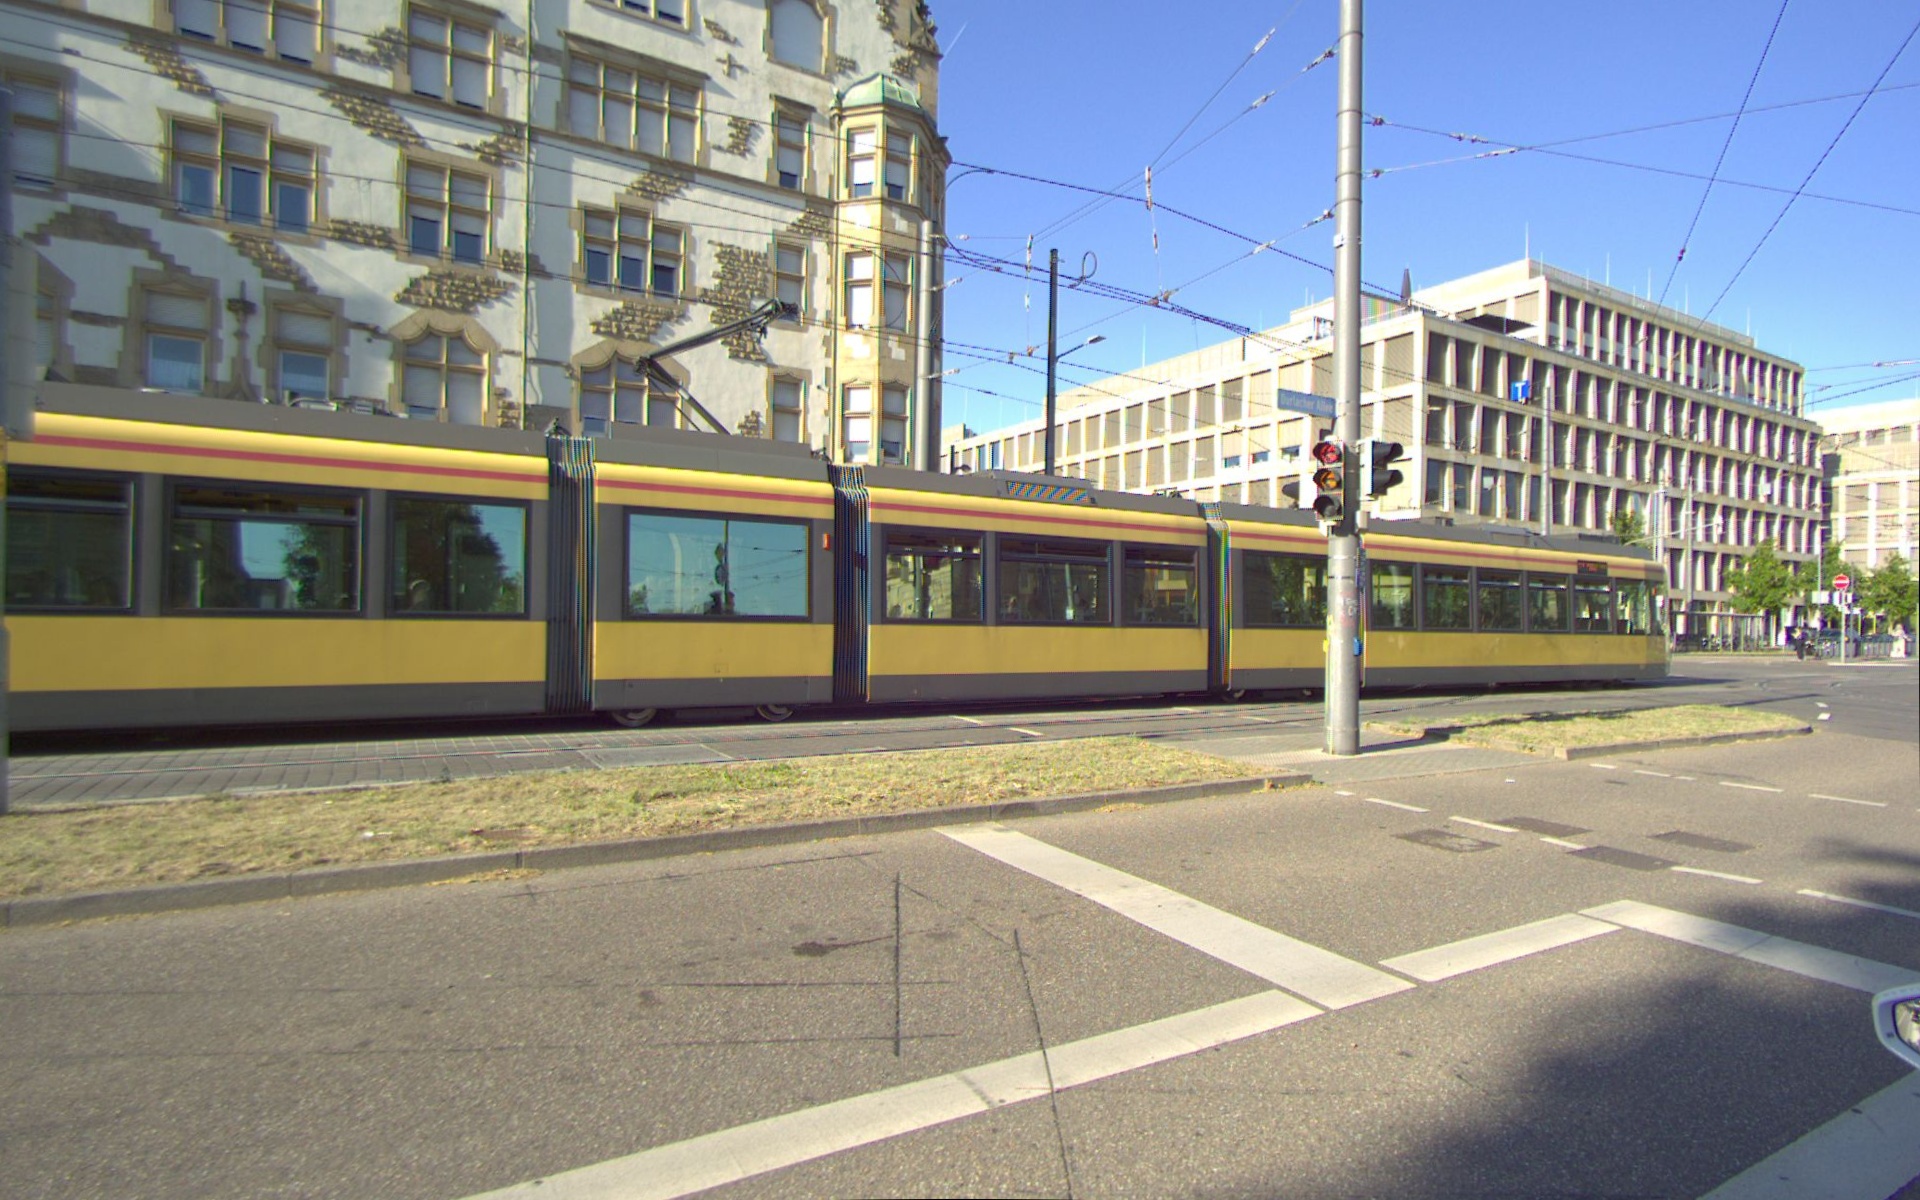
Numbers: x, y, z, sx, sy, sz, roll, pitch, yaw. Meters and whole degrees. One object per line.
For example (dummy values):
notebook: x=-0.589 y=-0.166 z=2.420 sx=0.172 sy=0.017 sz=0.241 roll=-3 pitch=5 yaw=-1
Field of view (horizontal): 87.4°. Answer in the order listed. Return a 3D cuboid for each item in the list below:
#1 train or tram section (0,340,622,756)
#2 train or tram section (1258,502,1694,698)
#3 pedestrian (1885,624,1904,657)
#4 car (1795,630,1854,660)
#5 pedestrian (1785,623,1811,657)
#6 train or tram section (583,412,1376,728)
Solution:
train or tram section: x=-10.068 y=-0.465 z=9.002 sx=13.052 sy=3.535 sz=2.799 roll=1 pitch=-1 yaw=-31
train or tram section: x=11.926 y=0.137 z=22.396 sx=12.015 sy=3.535 sz=2.799 roll=1 pitch=-1 yaw=-31
pedestrian: x=48.092 y=2.079 z=51.690 sx=0.609 sy=1.686 sz=0.513 roll=0 pitch=-1 yaw=35
car: x=56.298 y=2.910 z=65.404 sx=4.067 sy=1.836 sz=1.832 roll=1 pitch=-1 yaw=-32
pedestrian: x=38.684 y=1.838 z=46.387 sx=0.616 sy=1.552 sz=0.754 roll=1 pitch=-1 yaw=-27
train or tram section: x=1.172 y=-0.190 z=15.847 sx=13.052 sy=3.535 sz=2.799 roll=1 pitch=-1 yaw=-31
